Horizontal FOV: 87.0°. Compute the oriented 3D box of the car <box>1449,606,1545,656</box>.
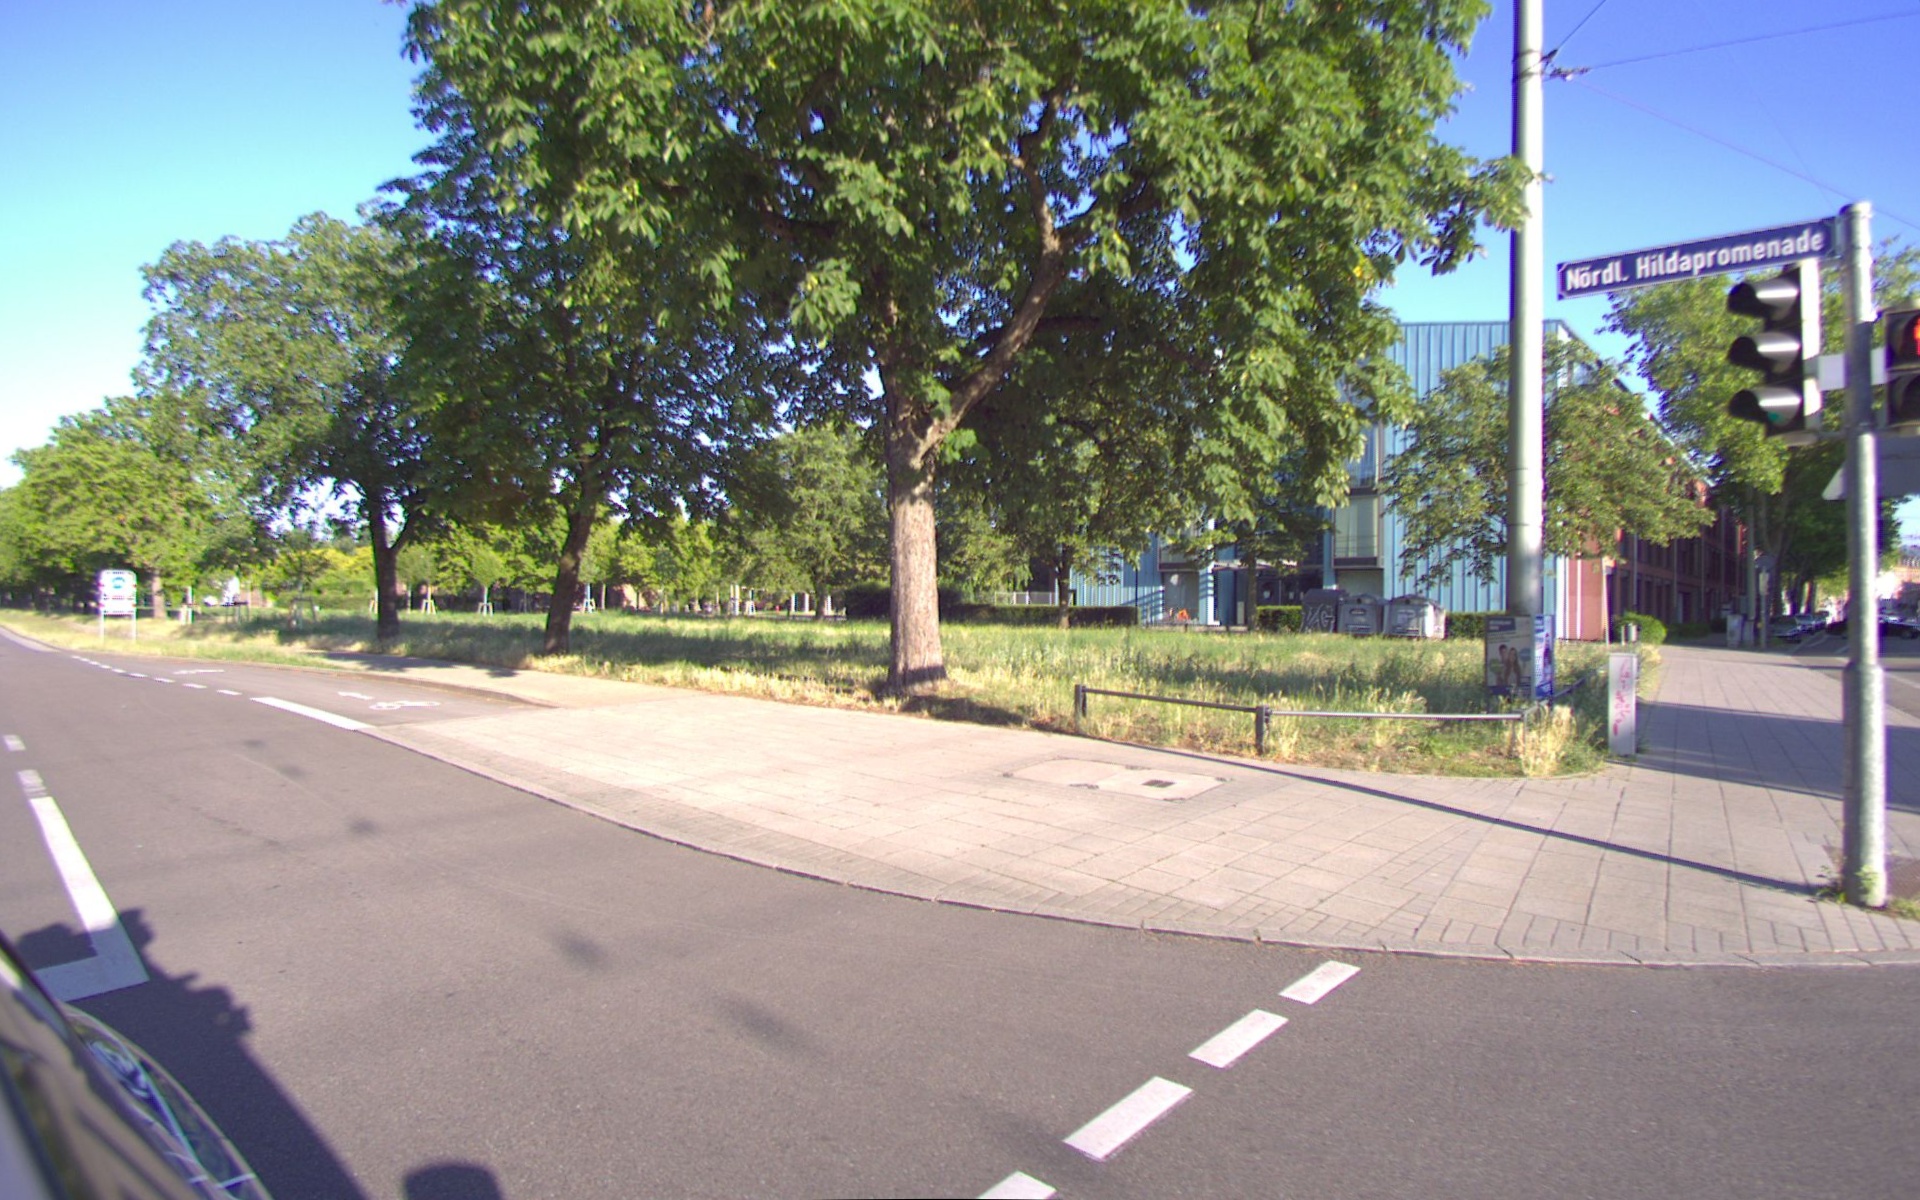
[{"bbox_3d":[20.094,1.097,37.726,2.000,1.684,5.151,1,0,42],"label":"car"}]

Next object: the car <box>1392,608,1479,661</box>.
[{"bbox_3d":[18.437,1.272,39.131,1.965,1.684,5.157,1,2,38],"label":"car"}]
